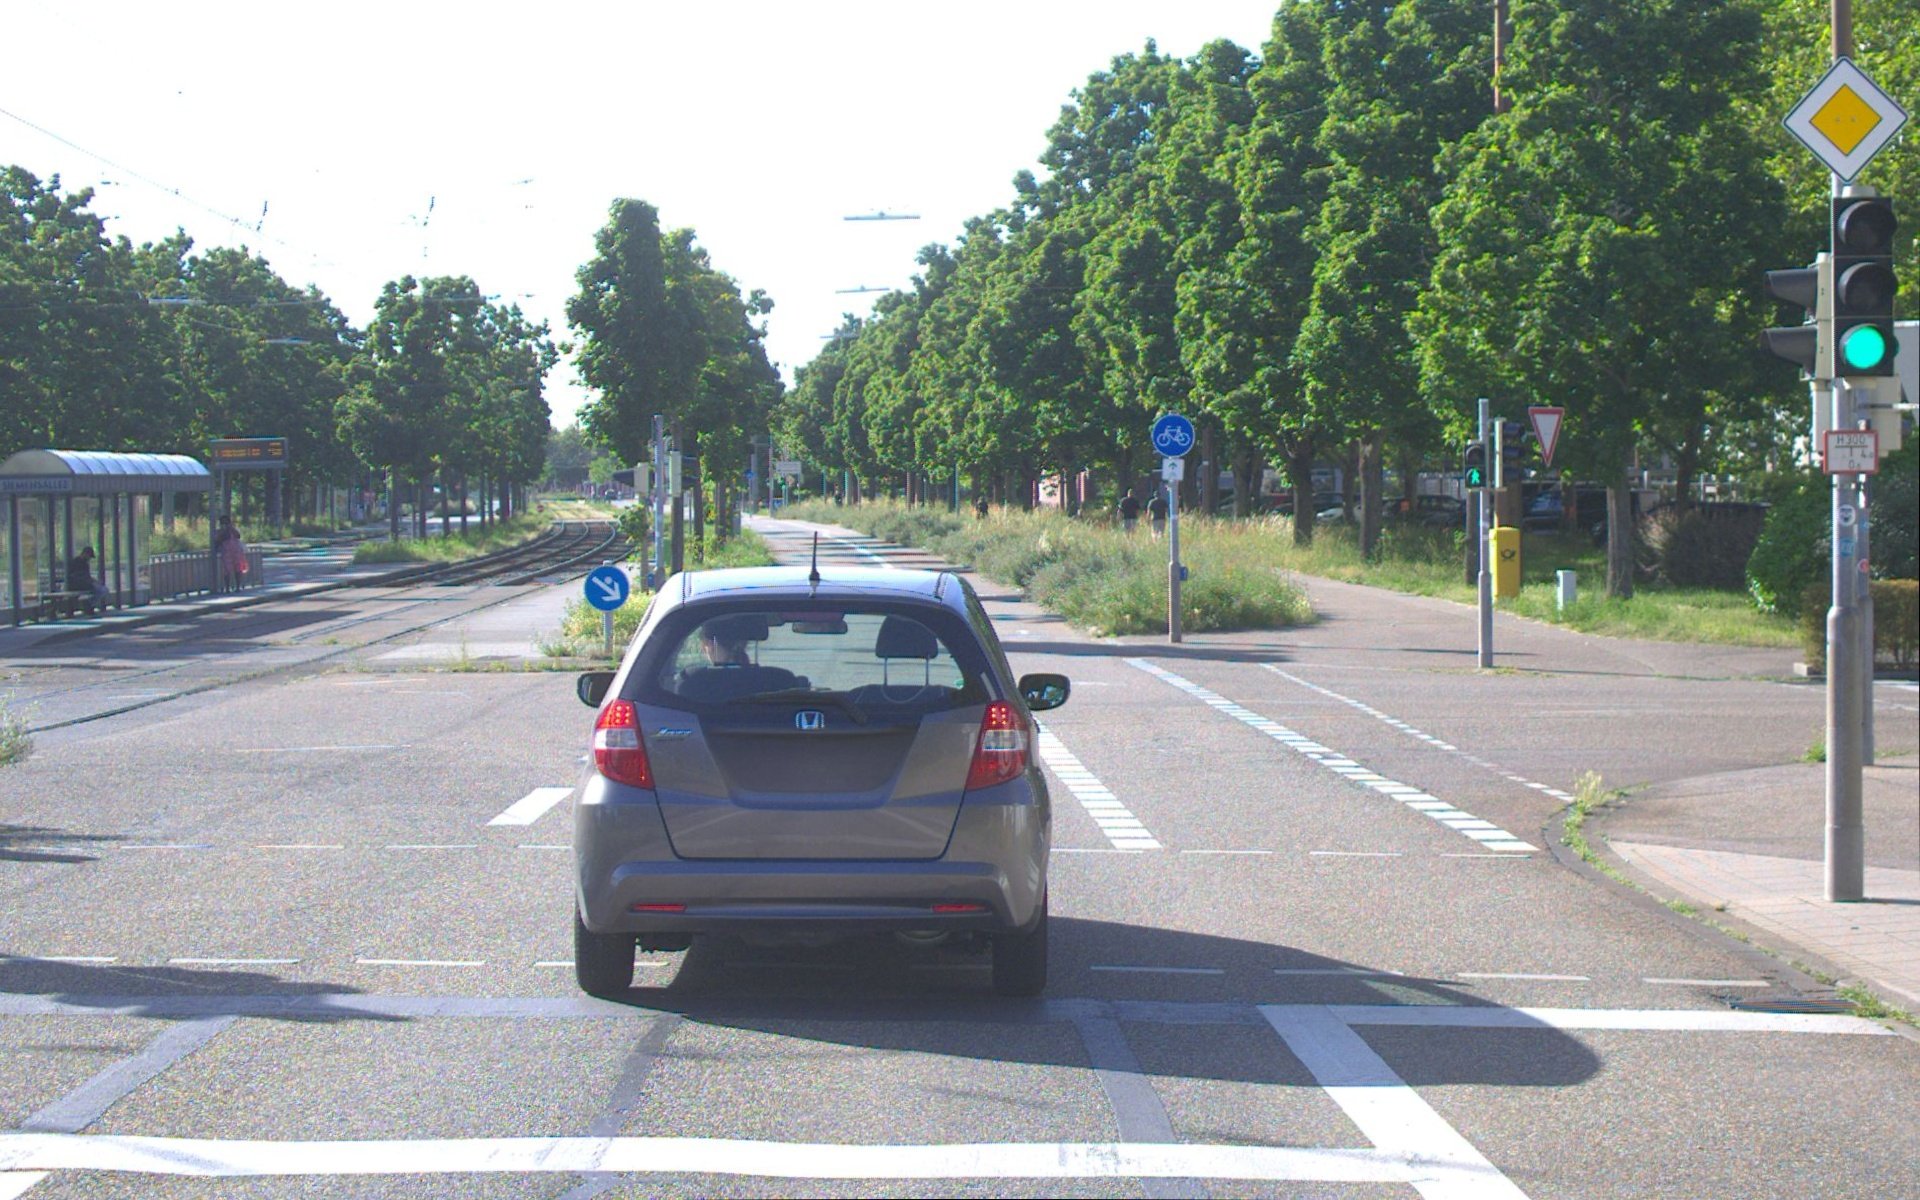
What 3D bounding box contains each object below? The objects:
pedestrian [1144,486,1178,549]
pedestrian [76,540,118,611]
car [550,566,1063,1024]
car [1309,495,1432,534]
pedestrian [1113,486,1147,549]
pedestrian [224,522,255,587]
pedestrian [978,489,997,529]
[{"bbox_3d":[6.054,-2.488,103.467,0.882,1.877,0.875,-1,1,-4],"label":"pedestrian"},{"bbox_3d":[-15.570,-0.444,62.016,0.563,1.252,0.581,-3,1,-1],"label":"pedestrian"},{"bbox_3d":[-0.533,0.635,13.293,1.701,1.518,3.710,0,0,-1],"label":"car"},{"bbox_3d":[16.832,-3.501,141.053,4.630,1.550,2.001,-1,2,-6],"label":"car"},{"bbox_3d":[5.111,-2.498,103.449,0.882,1.877,0.875,-1,1,-4],"label":"pedestrian"},{"bbox_3d":[-16.038,-1.017,76.573,0.544,1.442,0.559,-1,1,-1],"label":"pedestrian"},{"bbox_3d":[1.142,-3.805,143.935,0.725,1.685,0.821,0,1,-3],"label":"pedestrian"}]
